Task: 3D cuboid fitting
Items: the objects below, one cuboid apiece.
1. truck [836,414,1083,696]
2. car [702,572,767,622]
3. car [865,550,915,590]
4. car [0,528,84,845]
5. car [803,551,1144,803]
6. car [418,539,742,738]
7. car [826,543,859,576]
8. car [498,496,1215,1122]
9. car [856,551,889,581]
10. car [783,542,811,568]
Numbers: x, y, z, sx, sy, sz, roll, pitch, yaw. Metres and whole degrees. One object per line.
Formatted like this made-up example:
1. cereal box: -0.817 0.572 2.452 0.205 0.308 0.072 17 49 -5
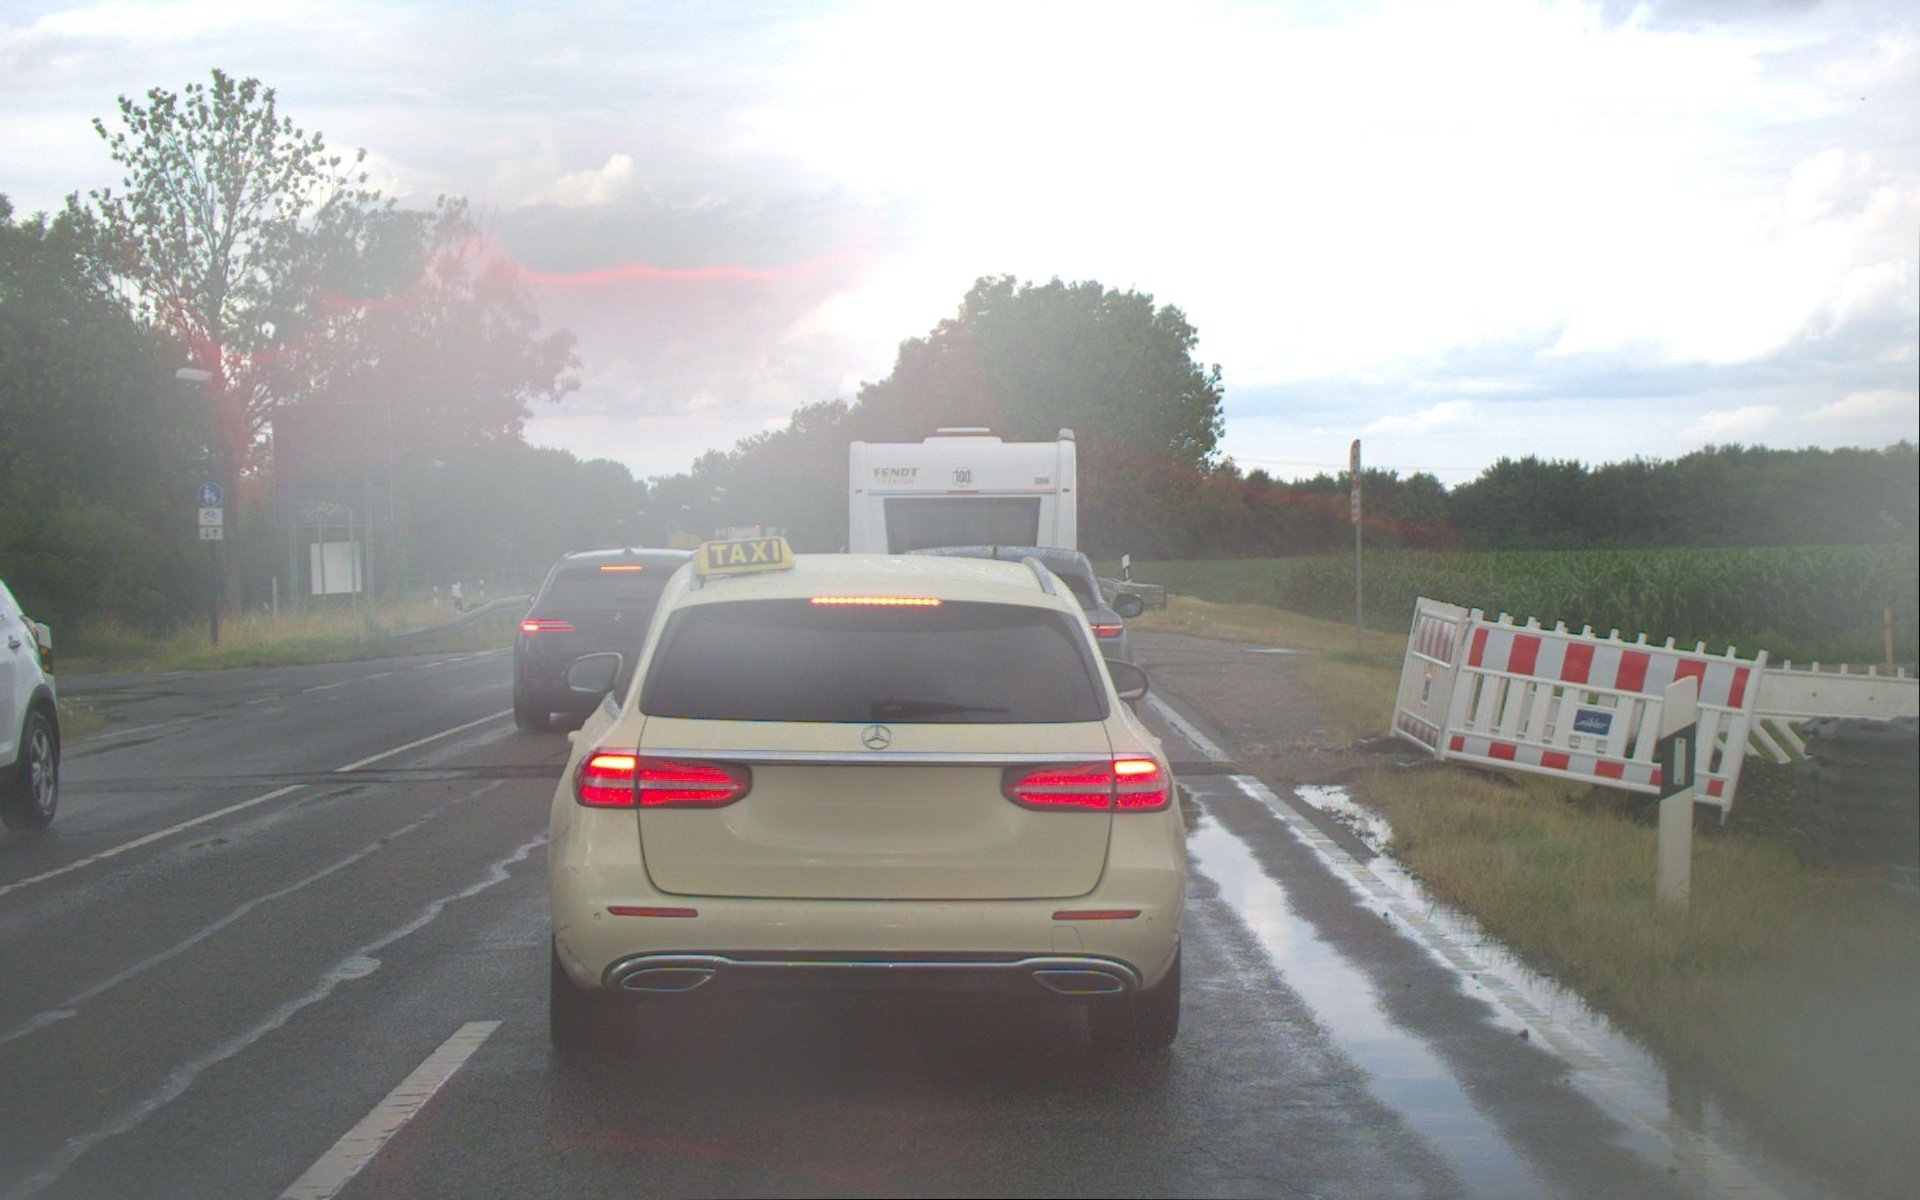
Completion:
1. truck: -0.038 -0.500 37.424 2.363 2.719 7.314 -1 1 0
2. car: -6.869 -0.102 105.063 1.719 1.399 4.044 -3 1 -1
3. car: -3.182 -1.364 154.635 1.993 1.766 4.001 -1 1 -4
4. car: -5.934 0.501 17.641 1.704 1.665 4.156 -3 1 1
5. car: 0.059 0.436 22.285 1.993 1.457 4.000 1 1 -1
6. car: -3.162 0.283 29.580 2.302 1.542 4.632 1 1 -1
7. car: -7.160 -2.463 209.052 1.895 1.888 3.844 -1 1 -3
8. car: -0.287 0.515 10.876 1.842 1.612 4.000 0 1 -1
9. car: -4.605 -1.828 181.978 1.682 1.545 3.753 1 1 -1
10. car: -12.165 -3.363 256.338 1.895 1.833 3.882 -1 1 -1
